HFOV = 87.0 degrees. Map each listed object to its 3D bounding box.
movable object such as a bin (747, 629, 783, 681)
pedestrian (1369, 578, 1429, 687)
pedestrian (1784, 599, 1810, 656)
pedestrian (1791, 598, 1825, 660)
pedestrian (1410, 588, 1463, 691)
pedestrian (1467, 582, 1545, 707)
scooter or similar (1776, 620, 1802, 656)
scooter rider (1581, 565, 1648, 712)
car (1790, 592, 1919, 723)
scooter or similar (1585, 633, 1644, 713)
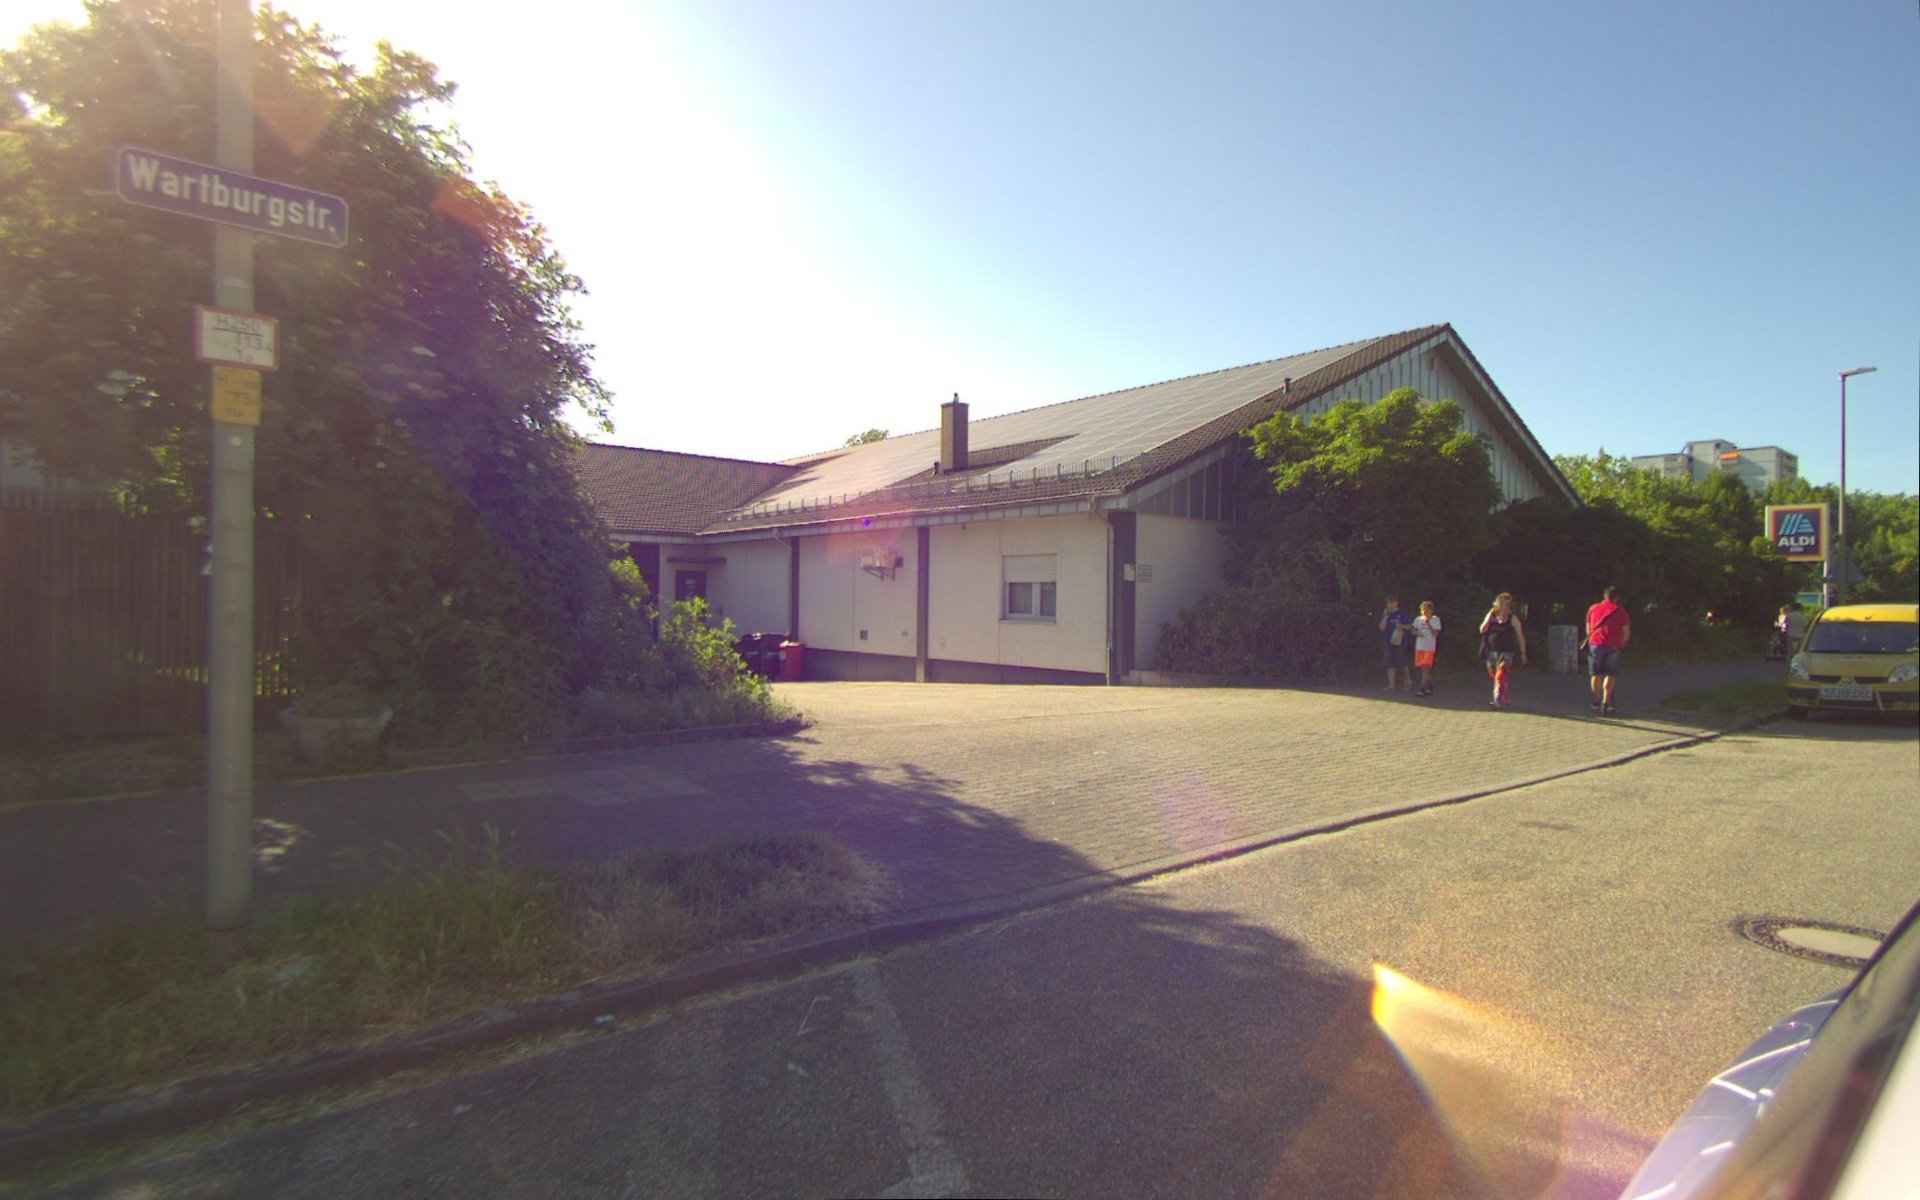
[{"bbox_3d":[-5.386,1.511,27.969,0.742,1.373,0.660,1,-1,-40],"label":"movable object such as a bin"},{"bbox_3d":[7.052,0.504,16.258,0.632,1.684,0.583,1,3,-42],"label":"pedestrian"},{"bbox_3d":[26.565,0.871,32.113,0.579,1.790,0.541,1,-1,-40],"label":"pedestrian"},{"bbox_3d":[24.562,0.828,29.317,0.579,1.790,0.672,1,-1,-40],"label":"pedestrian"},{"bbox_3d":[7.453,0.600,15.819,0.654,1.551,0.447,1,3,-42],"label":"pedestrian"},{"bbox_3d":[7.882,0.619,14.596,0.881,1.709,0.634,1,3,-42],"label":"pedestrian"},{"bbox_3d":[25.914,1.187,31.630,0.826,1.092,0.478,1,-1,-40],"label":"scooter or similar"},{"bbox_3d":[9.420,0.538,14.567,0.478,2.038,0.598,1,3,-45],"label":"scooter rider"},{"bbox_3d":[14.339,0.806,15.656,3.910,1.799,1.620,1,-1,-40],"label":"car"},{"bbox_3d":[9.440,1.034,14.584,0.456,1.043,1.032,5,3,45],"label":"scooter or similar"}]
